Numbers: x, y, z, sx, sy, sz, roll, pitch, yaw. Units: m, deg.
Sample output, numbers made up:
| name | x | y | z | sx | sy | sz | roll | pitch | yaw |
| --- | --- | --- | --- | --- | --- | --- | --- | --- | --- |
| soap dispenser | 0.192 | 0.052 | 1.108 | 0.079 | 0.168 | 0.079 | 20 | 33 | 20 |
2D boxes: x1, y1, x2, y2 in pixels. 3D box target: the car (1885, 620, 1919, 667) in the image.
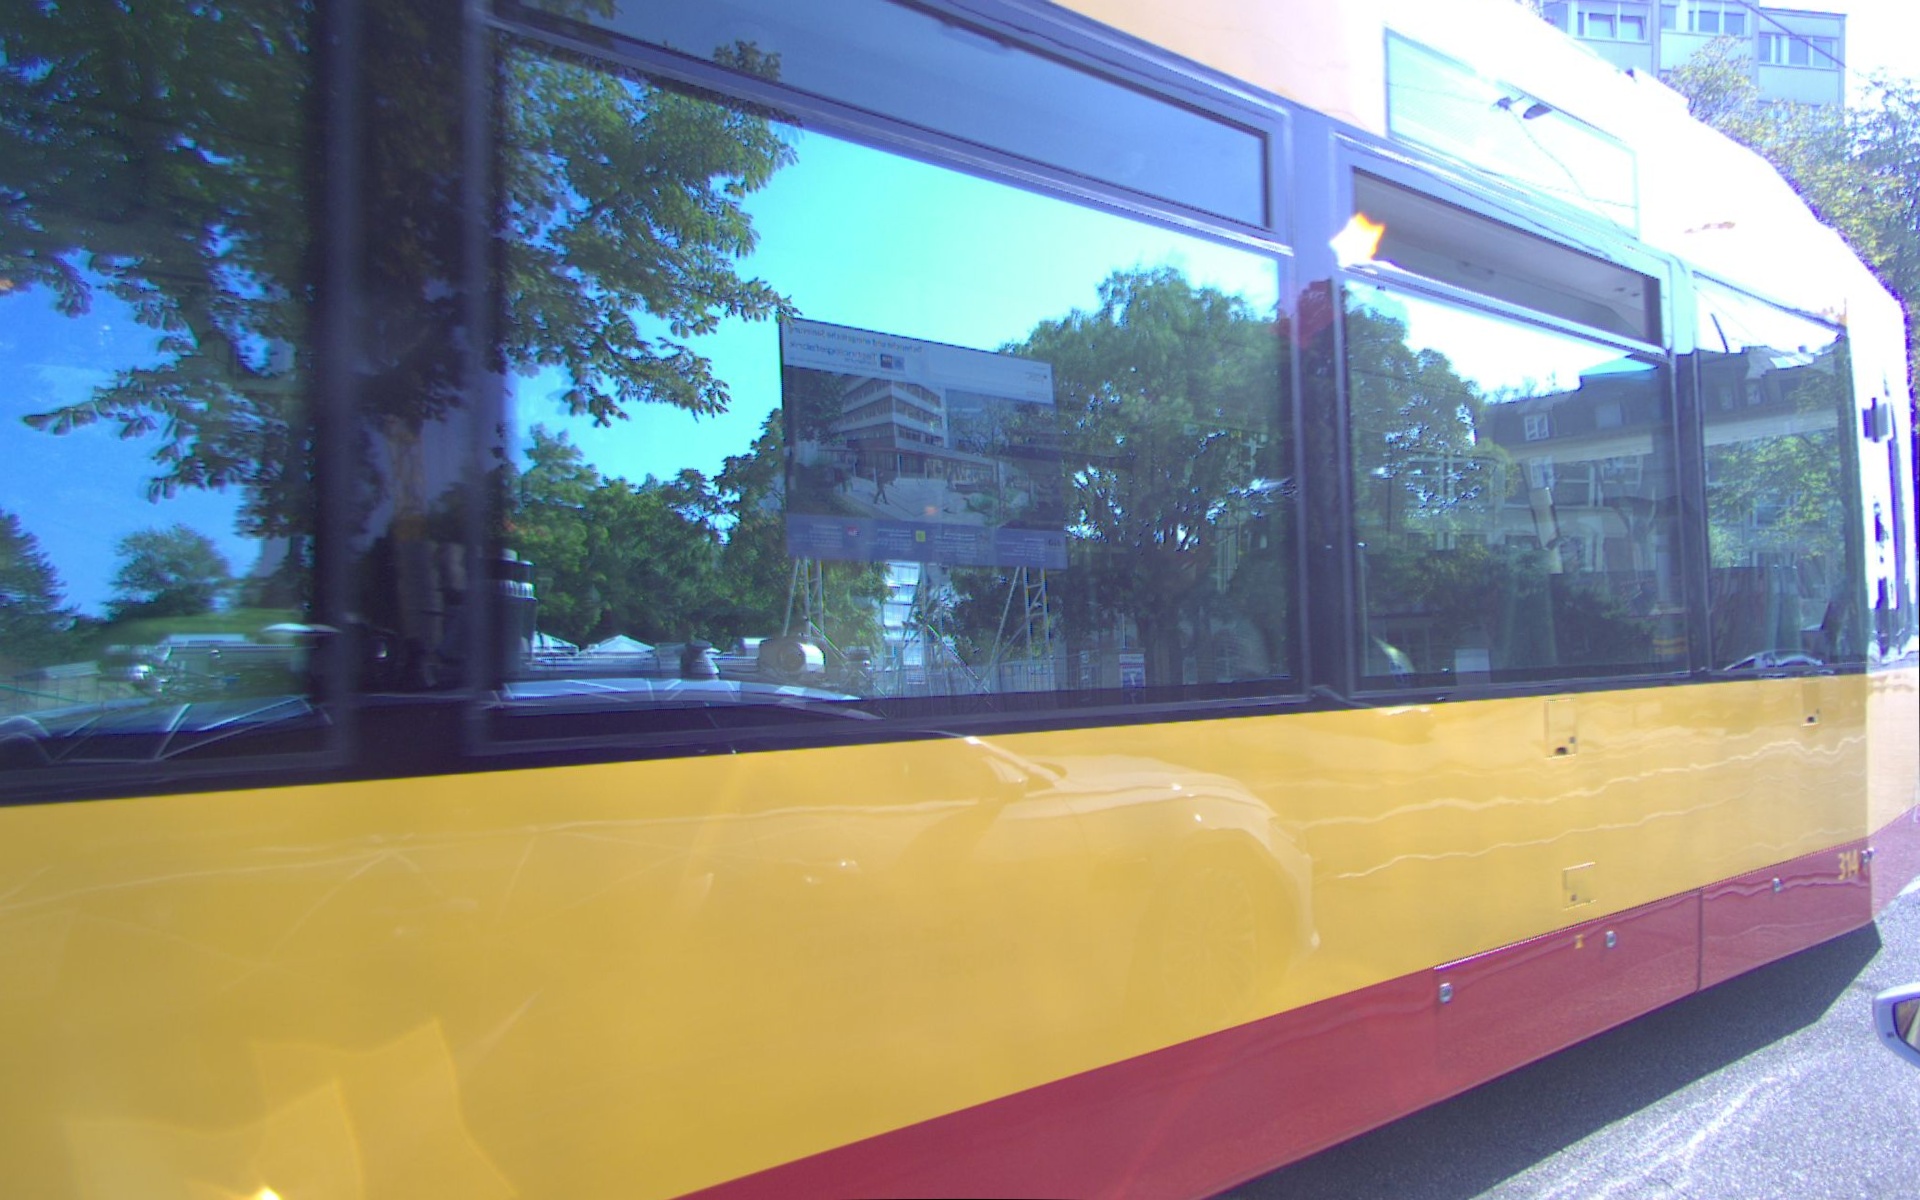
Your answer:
| name | x | y | z | sx | sy | sz | roll | pitch | yaw |
| --- | --- | --- | --- | --- | --- | --- | --- | --- | --- |
| car | 31.561 | 1.387 | 31.302 | 3.687 | 1.425 | 1.571 | 1 | 0 | 13 |

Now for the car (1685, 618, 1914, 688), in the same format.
| name | x | y | z | sx | sy | sz | roll | pitch | yaw |
| --- | --- | --- | --- | --- | --- | --- | --- | --- | --- |
| car | 18.927 | 1.164 | 22.784 | 3.687 | 1.462 | 1.571 | 1 | 0 | 9 |

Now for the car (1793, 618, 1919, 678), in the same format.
| name | x | y | z | sx | sy | sz | roll | pitch | yaw |
| --- | --- | --- | --- | --- | --- | --- | --- | --- | --- |
| car | 24.246 | 1.246 | 26.093 | 3.687 | 1.462 | 1.571 | 1 | 0 | 13 |

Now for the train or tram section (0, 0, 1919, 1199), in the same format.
| name | x | y | z | sx | sy | sz | roll | pitch | yaw |
| --- | --- | --- | --- | --- | --- | --- | --- | --- | --- |
| train or tram section | -0.211 | 0.033 | 3.008 | 10.426 | 2.900 | 2.666 | 1 | -1 | -32 |
